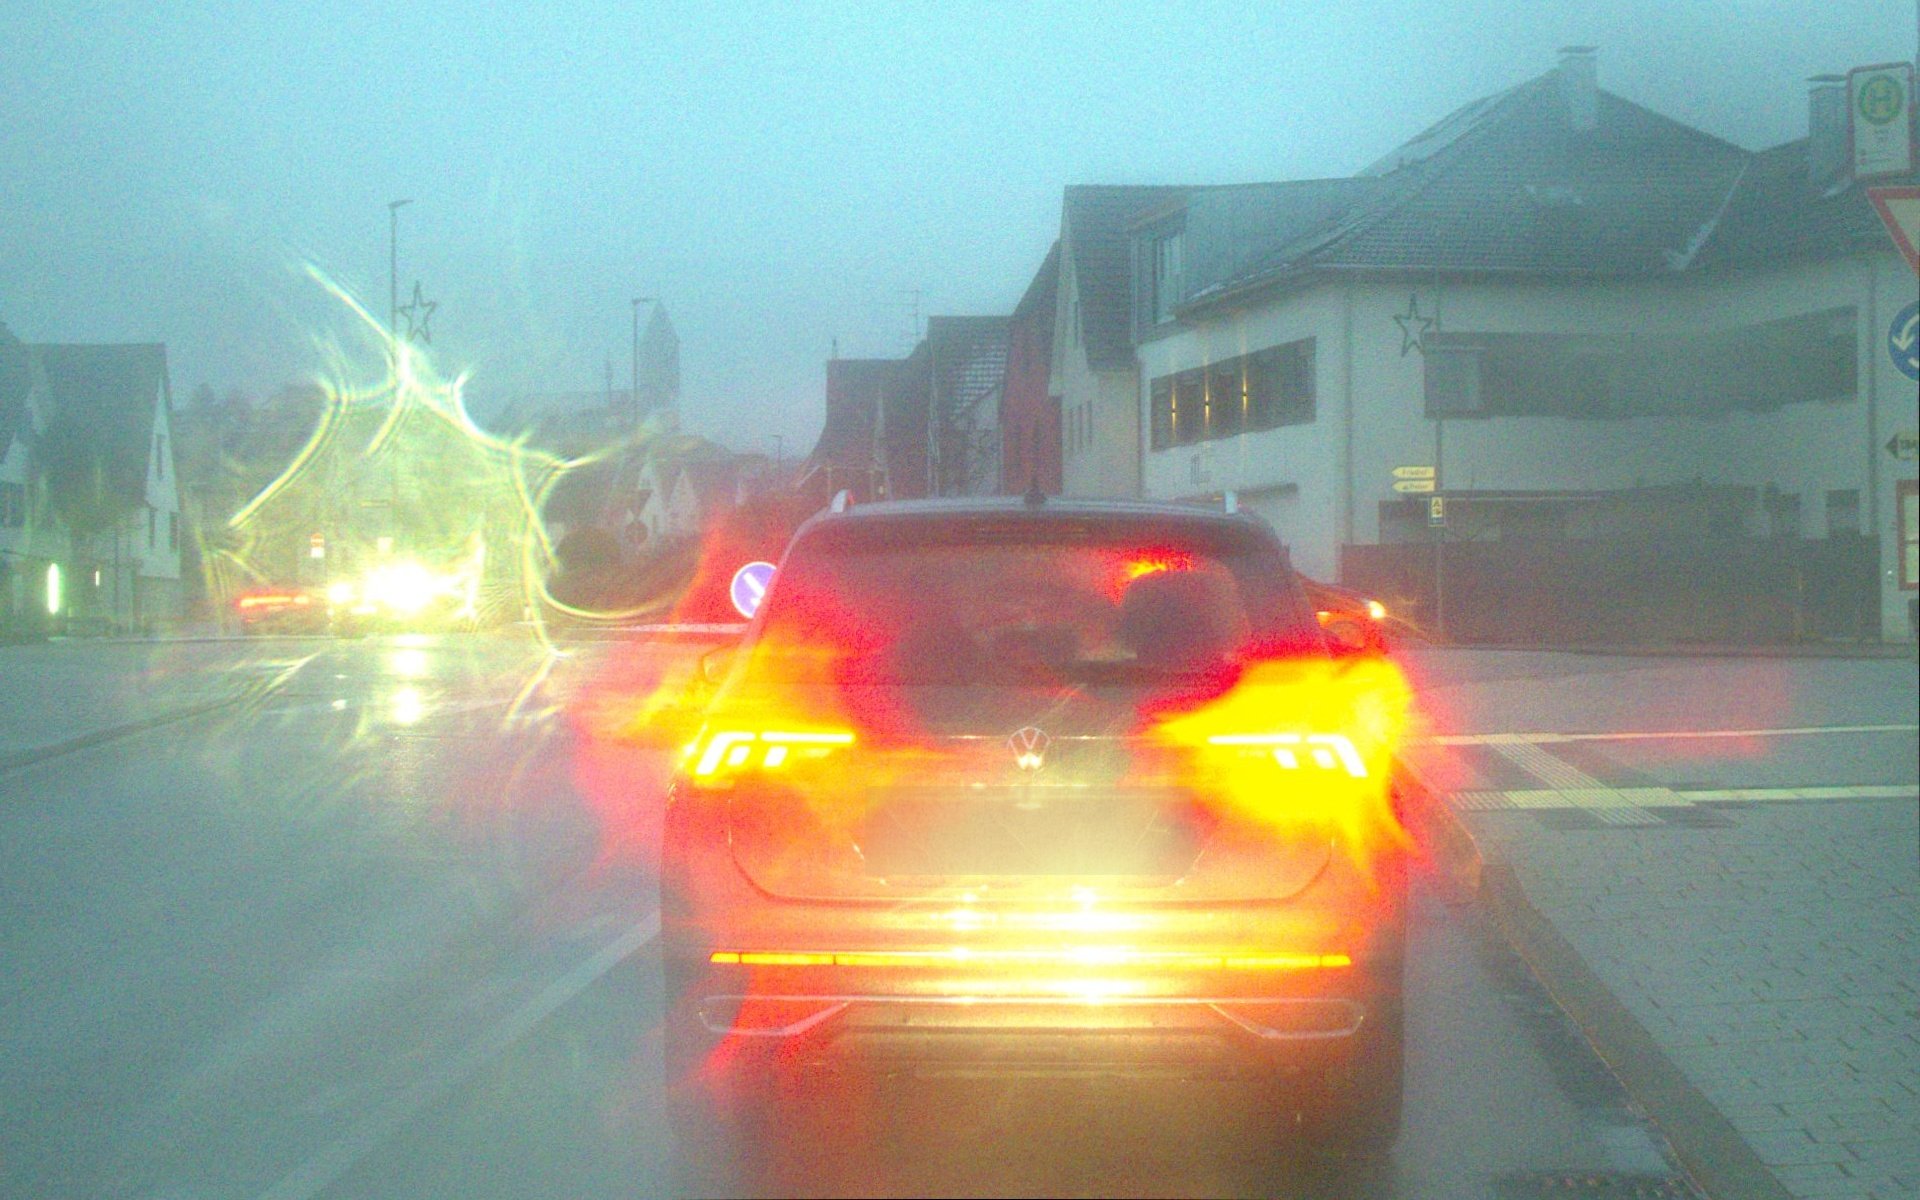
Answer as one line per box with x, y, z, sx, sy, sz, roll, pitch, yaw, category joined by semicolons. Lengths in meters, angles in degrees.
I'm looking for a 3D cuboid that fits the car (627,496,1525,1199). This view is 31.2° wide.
0.283;0.540;9.779;1.964;1.589;4.313;1;1;1;car

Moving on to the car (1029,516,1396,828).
1.230;0.302;18.218;1.682;1.448;4.000;1;1;1;car

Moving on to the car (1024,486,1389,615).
2.934;-0.584;41.414;3.986;1.413;2.000;-2;0;-9;car

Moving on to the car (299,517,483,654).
-9.628;-0.238;58.531;1.994;2.196;4.417;2;0;5;car
